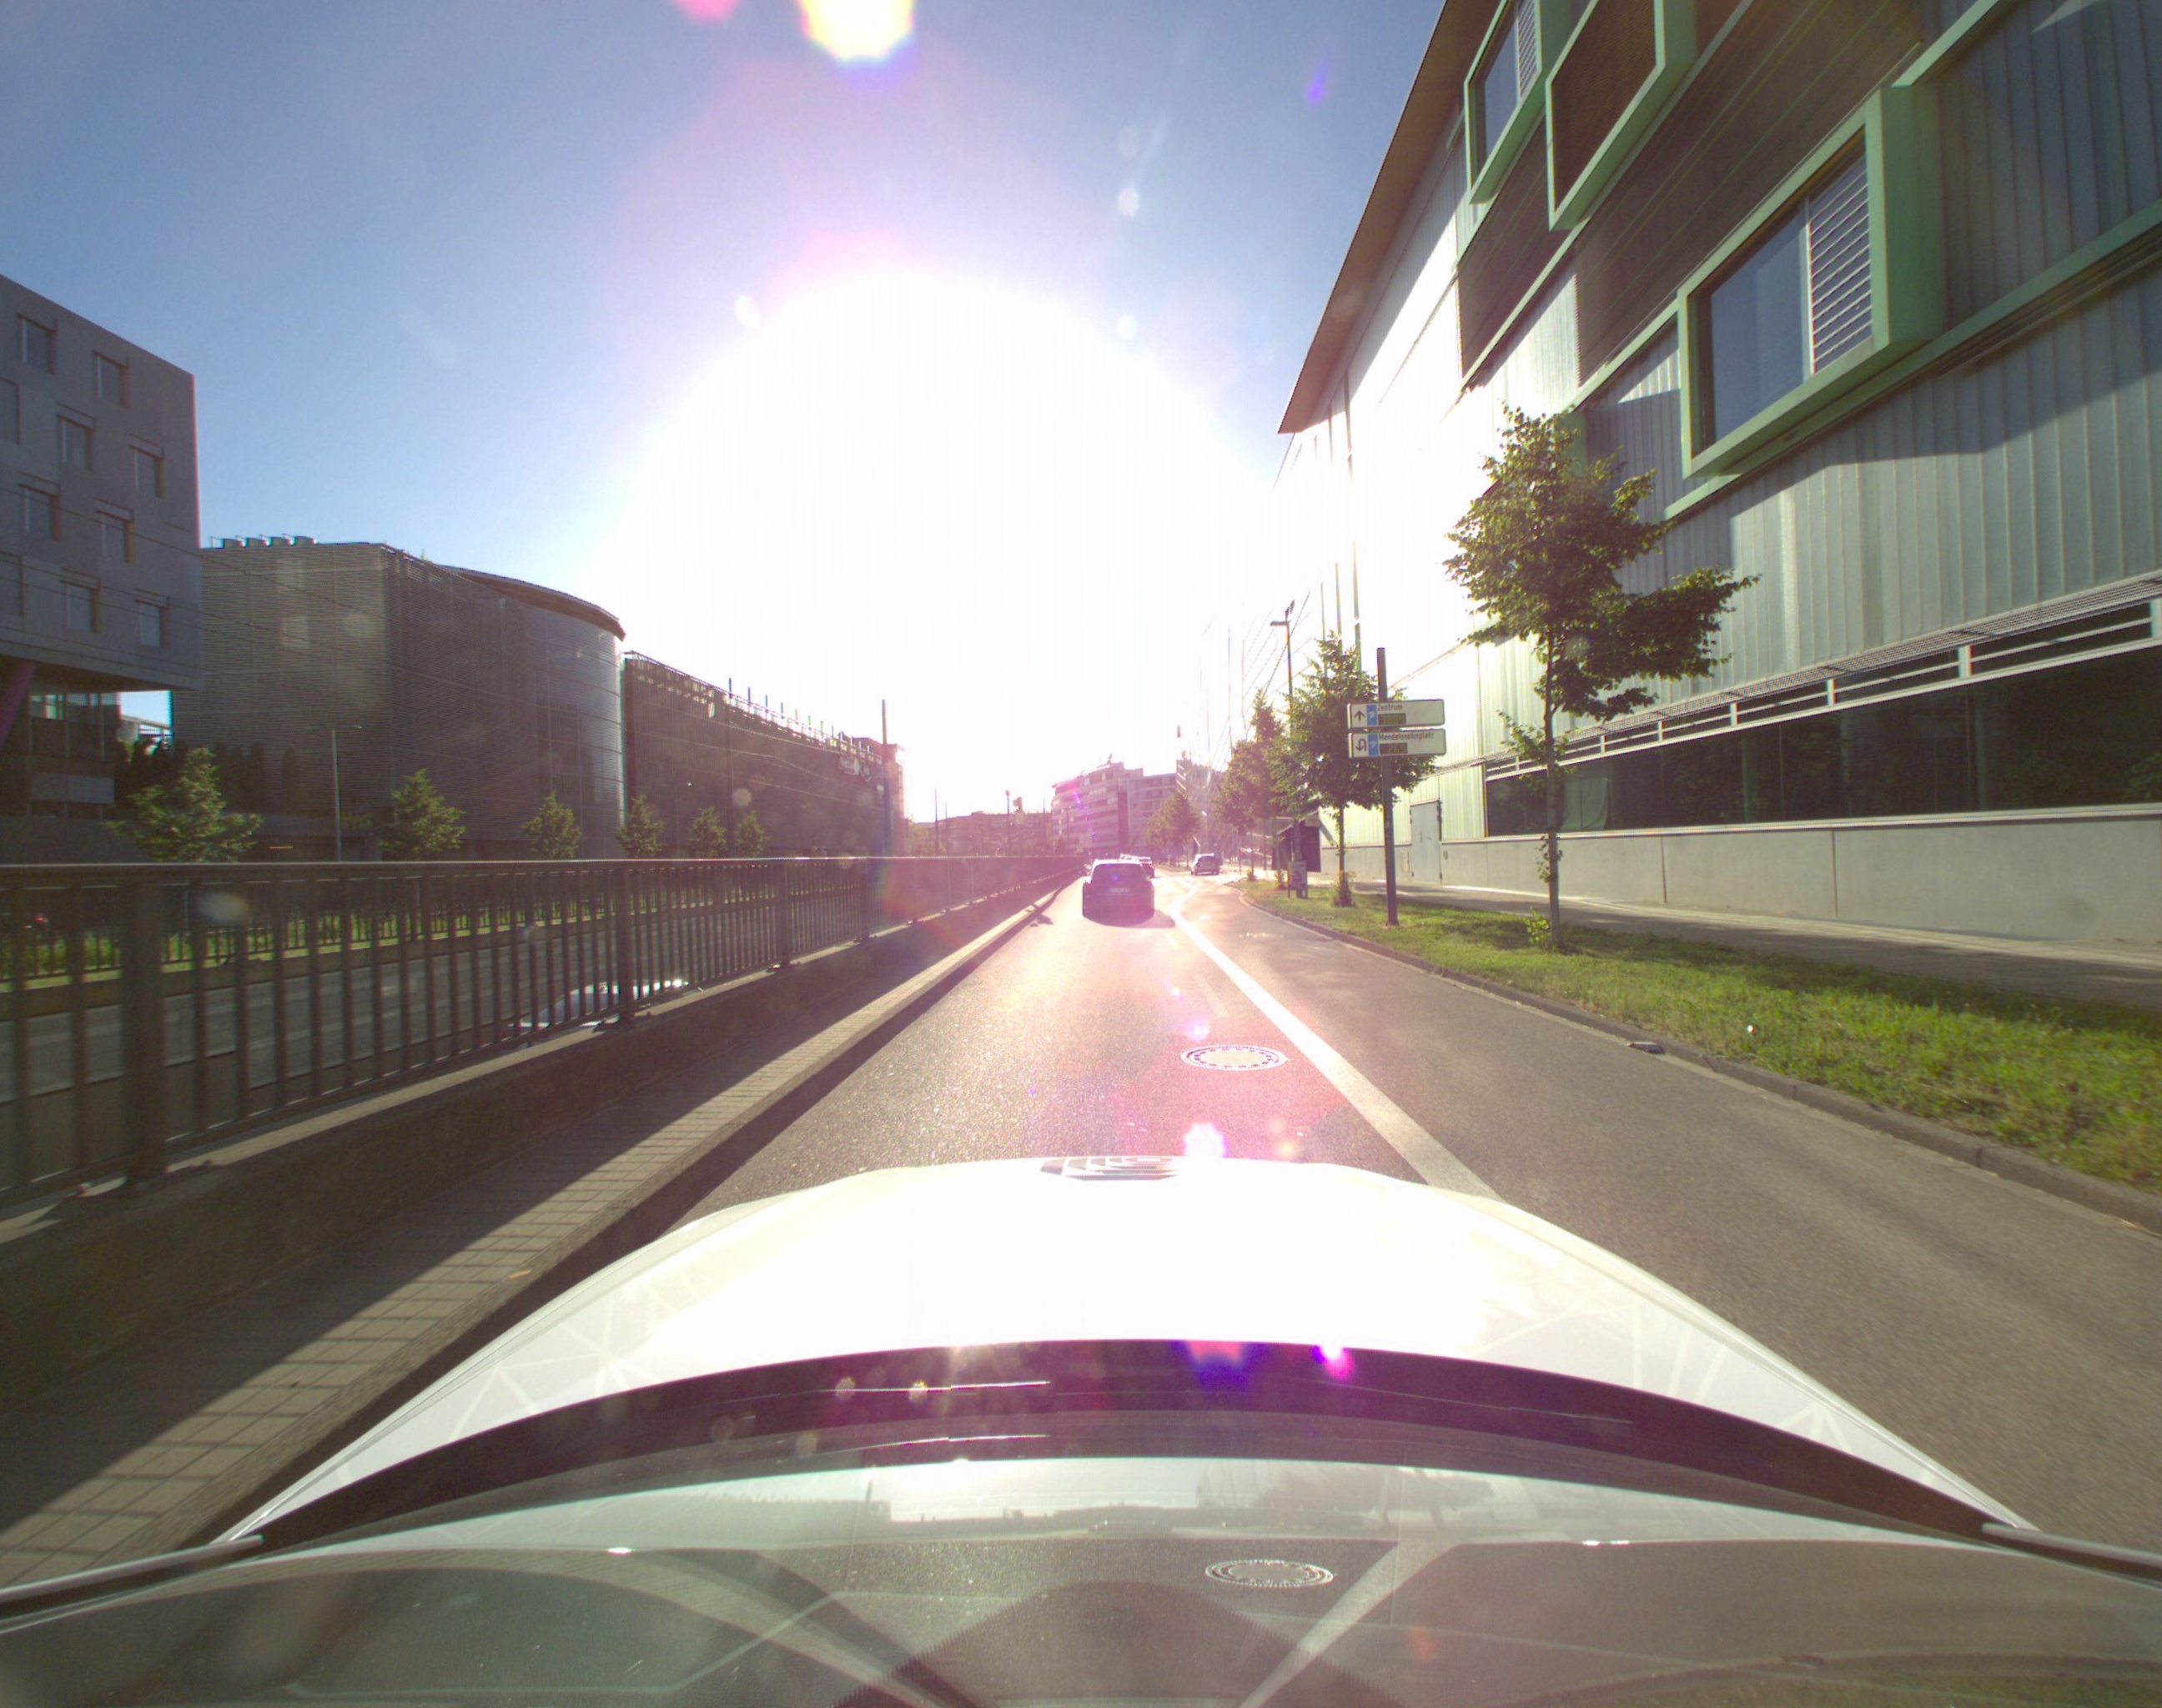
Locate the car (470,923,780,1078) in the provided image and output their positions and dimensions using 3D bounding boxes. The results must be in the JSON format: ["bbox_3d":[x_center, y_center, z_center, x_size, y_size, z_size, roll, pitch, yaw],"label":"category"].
[{"bbox_3d":[-6.715,2.062,12.794,1.790,1.527,4.917,0,0,4],"label":"car"}]

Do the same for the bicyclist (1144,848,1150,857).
[{"bbox_3d":[10.132,-0.244,125.681,0.723,1.418,0.890,-4,0,-5],"label":"bicyclist"}]

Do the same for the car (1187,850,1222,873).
[{"bbox_3d":[8.934,0.493,59.137,1.846,1.481,4.855,-4,0,1],"label":"car"}]

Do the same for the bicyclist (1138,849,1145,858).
[{"bbox_3d":[8.924,-0.130,120.119,0.725,1.269,1.031,-3,0,-14],"label":"bicyclist"}]

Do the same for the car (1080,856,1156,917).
[{"bbox_3d":[0.960,0.810,22.280,1.806,1.427,4.691,-2,0,1],"label":"car"}]

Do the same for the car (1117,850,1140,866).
[{"bbox_3d":[4.749,0.420,81.246,1.987,1.465,3.999,-1,1,-1],"label":"car"}]

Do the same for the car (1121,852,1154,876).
[{"bbox_3d":[3.857,0.639,56.051,1.847,1.546,3.998,-1,0,-1],"label":"car"}]

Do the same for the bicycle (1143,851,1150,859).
[{"bbox_3d":[10.143,0.183,125.658,0.723,1.184,2.090,-4,0,-5],"label":"bicycle"}]

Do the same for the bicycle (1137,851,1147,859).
[{"bbox_3d":[9.004,0.165,120.125,0.725,1.184,2.083,-4,0,-14],"label":"bicycle"}]

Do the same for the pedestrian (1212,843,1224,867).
[{"bbox_3d":[11.669,0.072,69.305,0.833,2.013,0.690,-3,0,2],"label":"pedestrian"}]
